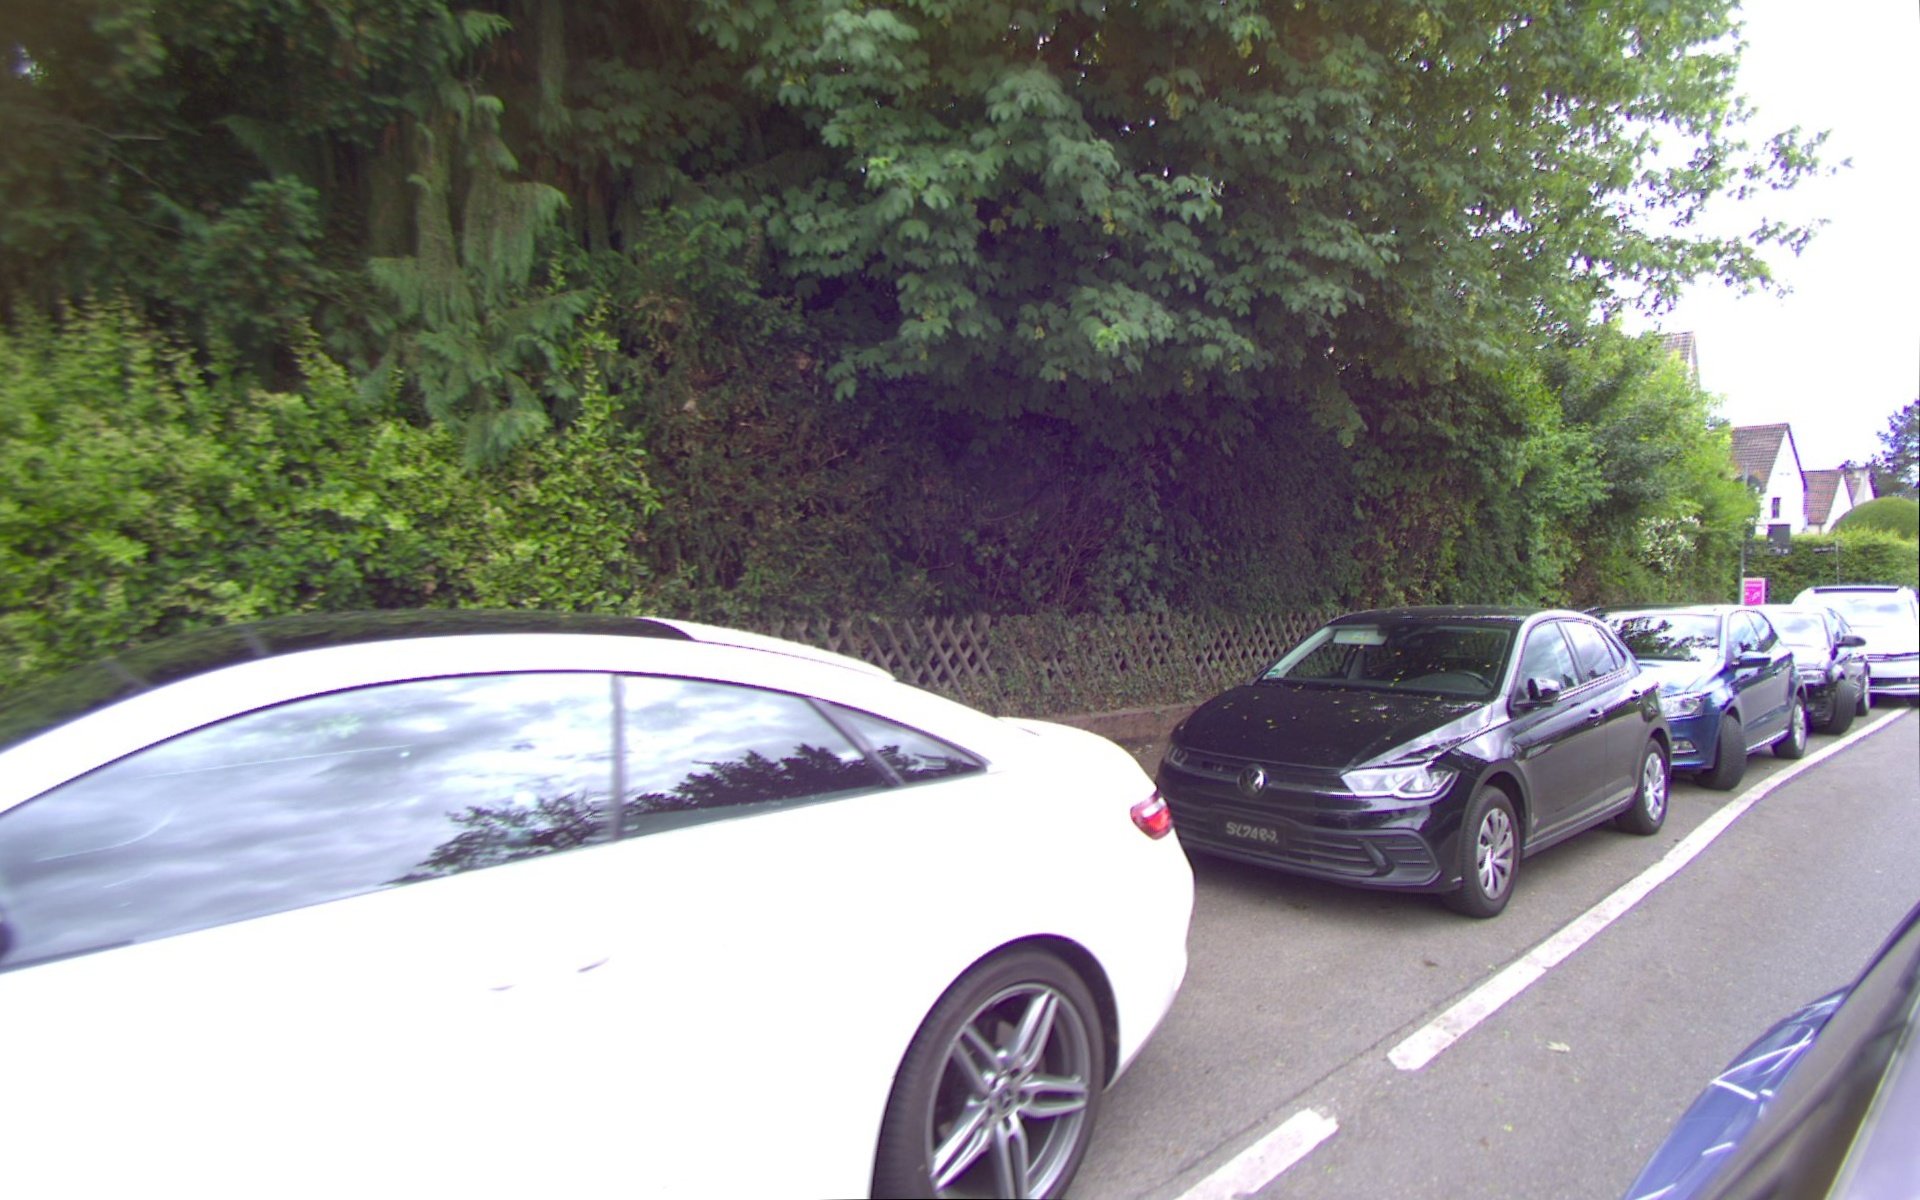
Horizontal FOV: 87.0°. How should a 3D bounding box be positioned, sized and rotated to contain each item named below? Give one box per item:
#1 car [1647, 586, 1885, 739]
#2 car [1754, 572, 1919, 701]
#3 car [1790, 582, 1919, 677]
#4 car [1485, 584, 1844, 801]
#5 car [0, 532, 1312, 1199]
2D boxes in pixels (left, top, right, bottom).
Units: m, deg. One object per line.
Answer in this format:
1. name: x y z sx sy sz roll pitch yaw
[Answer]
1. car: 10.038 0.610 12.473 1.811 1.470 4.308 3 3 45
2. car: 13.636 0.445 15.325 2.002 1.628 4.682 4 3 44
3. car: 17.087 0.476 18.768 4.380 1.510 1.941 0 3 -42
4. car: 6.473 0.635 9.119 4.087 1.527 1.700 0 0 -41
5. car: -1.501 0.627 2.149 4.916 1.510 1.998 0 3 -40
